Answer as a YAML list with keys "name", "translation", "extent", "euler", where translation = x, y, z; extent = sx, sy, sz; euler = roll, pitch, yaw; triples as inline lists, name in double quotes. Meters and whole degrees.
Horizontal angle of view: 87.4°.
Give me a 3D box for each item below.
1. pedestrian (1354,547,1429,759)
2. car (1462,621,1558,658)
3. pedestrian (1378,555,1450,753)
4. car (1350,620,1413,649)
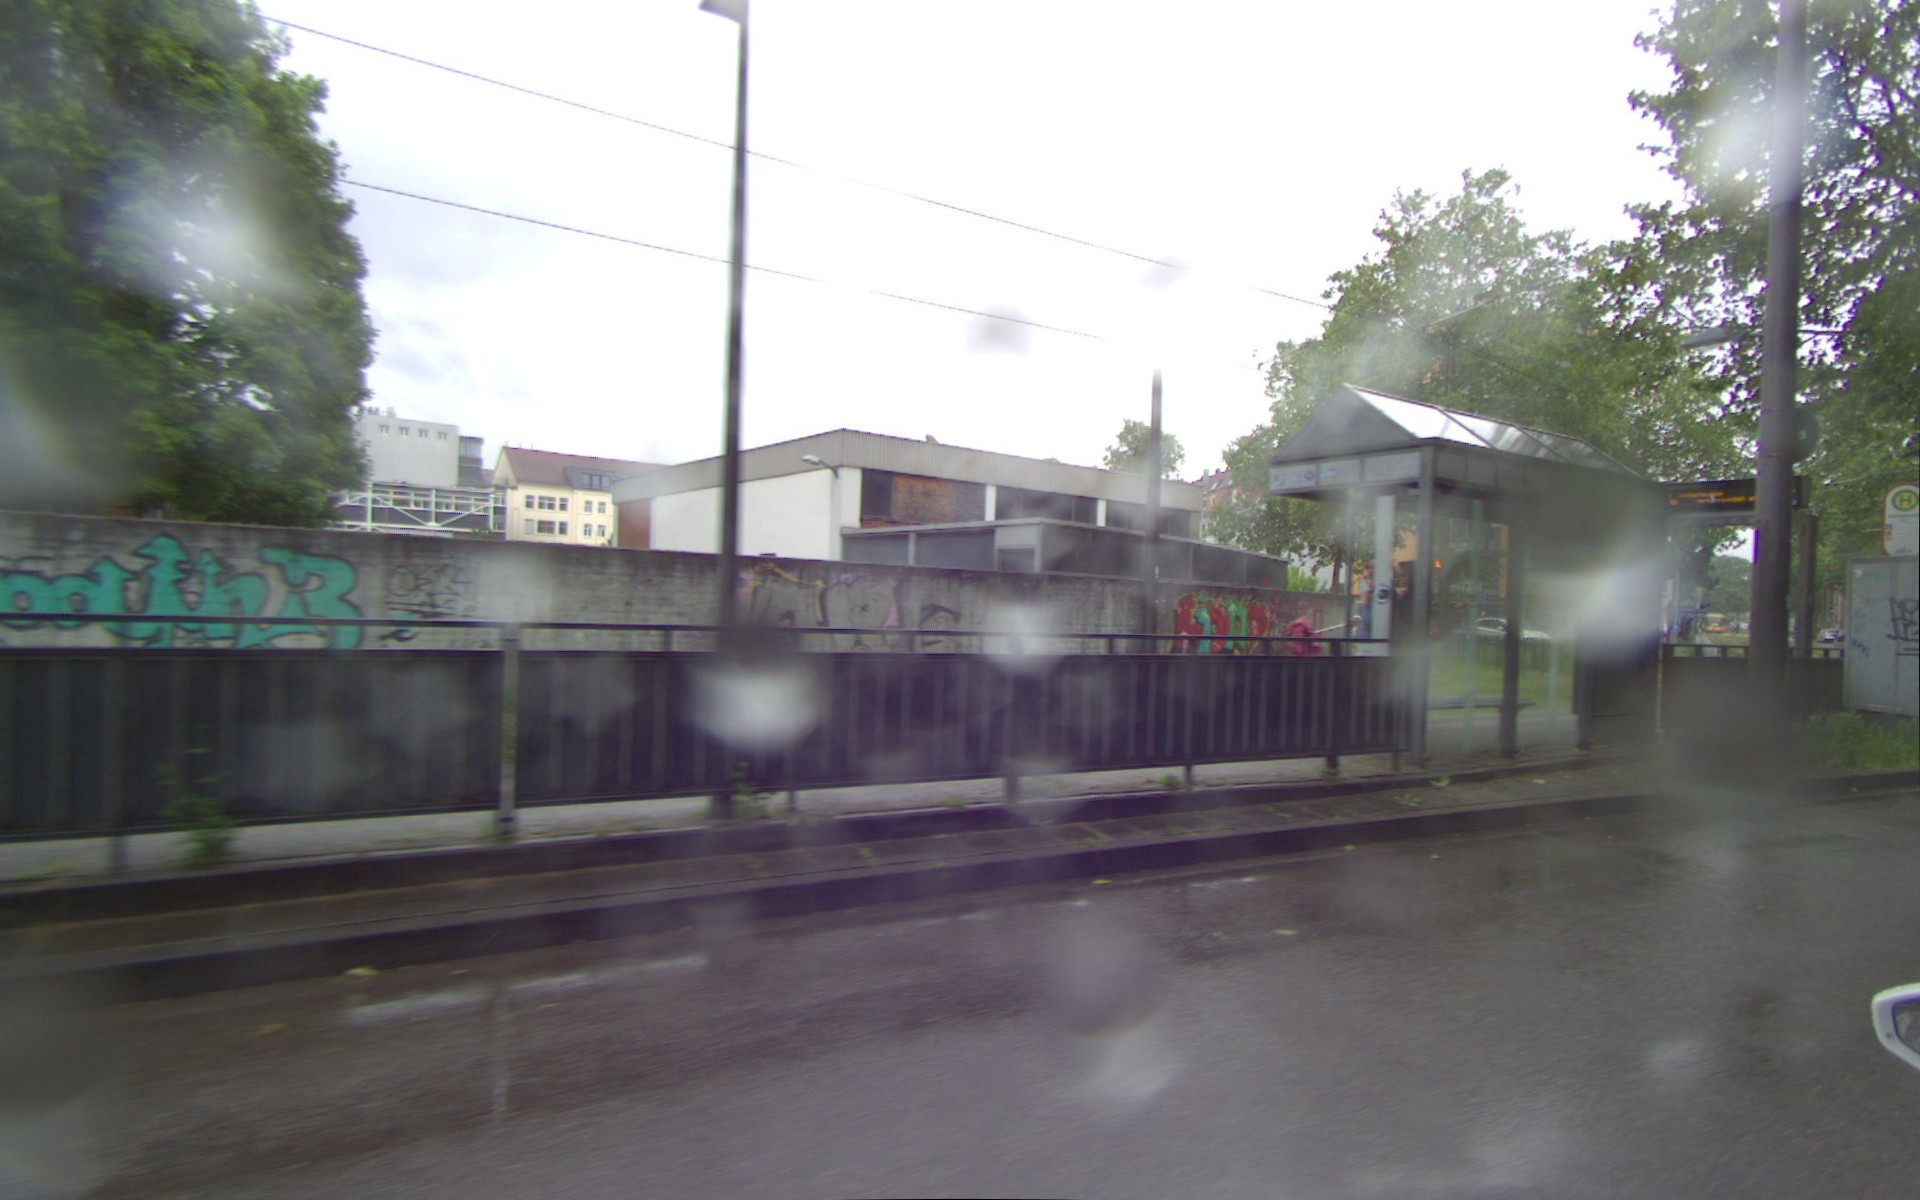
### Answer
- name: "pedestrian"
  translation: [3.744, 0.443, 8.706]
  extent: [0.572, 1.754, 0.568]
  euler: [1, -1, 25]
- name: "car"
  translation: [26.134, 1.842, 47.907]
  extent: [1.937, 1.673, 4.012]
  euler: [1, -1, -10]
- name: "pedestrian"
  translation: [4.182, 0.482, 9.279]
  extent: [0.571, 1.754, 0.568]
  euler: [1, -1, 23]
- name: "car"
  translation: [25.129, 2.059, 60.023]
  extent: [1.694, 1.661, 3.787]
  euler: [1, -1, -10]
